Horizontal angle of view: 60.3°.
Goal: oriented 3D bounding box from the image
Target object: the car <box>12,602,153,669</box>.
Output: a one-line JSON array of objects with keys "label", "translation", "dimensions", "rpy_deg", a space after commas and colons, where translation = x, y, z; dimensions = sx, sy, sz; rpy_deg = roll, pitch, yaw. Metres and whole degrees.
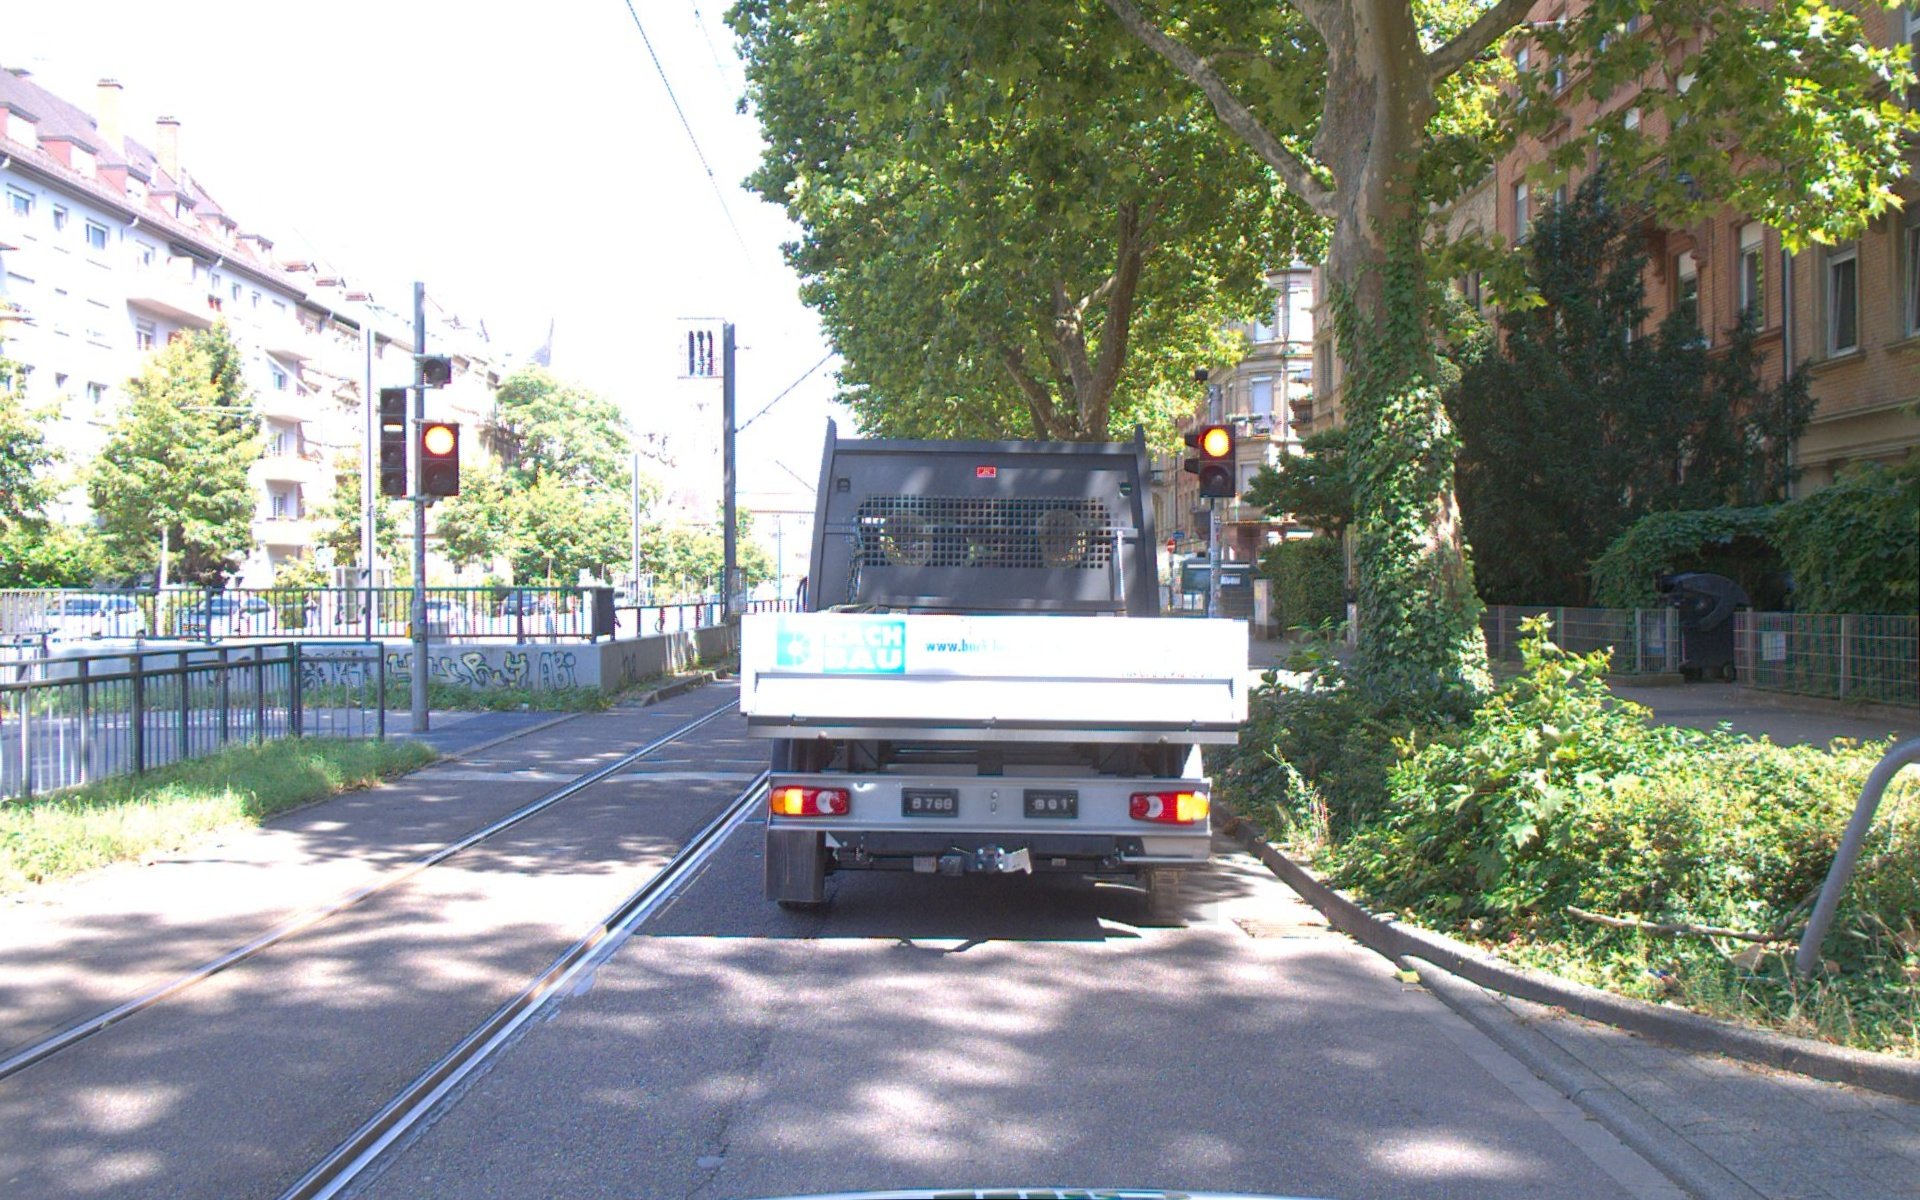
[{"label": "car", "translation": [-21.958, 0.853, 41.550], "dimensions": [1.737, 1.524, 3.994], "rpy_deg": [-2, 0, -6]}]

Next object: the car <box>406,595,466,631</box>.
[{"label": "car", "translation": [-22.658, 0.546, 71.651], "dimensions": [1.736, 1.524, 3.994], "rpy_deg": [-1, 0, -6]}]

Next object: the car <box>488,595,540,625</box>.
[{"label": "car", "translation": [-22.915, 0.491, 85.120], "dimensions": [1.735, 1.524, 3.998], "rpy_deg": [-1, 0, -2]}]

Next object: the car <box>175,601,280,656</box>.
[{"label": "car", "translation": [-22.142, 0.819, 50.128], "dimensions": [1.737, 1.524, 3.994], "rpy_deg": [-2, 0, -6]}]

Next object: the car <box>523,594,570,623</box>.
[{"label": "car", "translation": [-23.199, 0.459, 92.953], "dimensions": [1.735, 1.524, 3.998], "rpy_deg": [-1, 0, -2]}]

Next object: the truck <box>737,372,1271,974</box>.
[{"label": "truck", "translation": [0.180, 0.276, 8.705], "dimensions": [2.094, 2.359, 4.401], "rpy_deg": [0, 0, 0]}]
